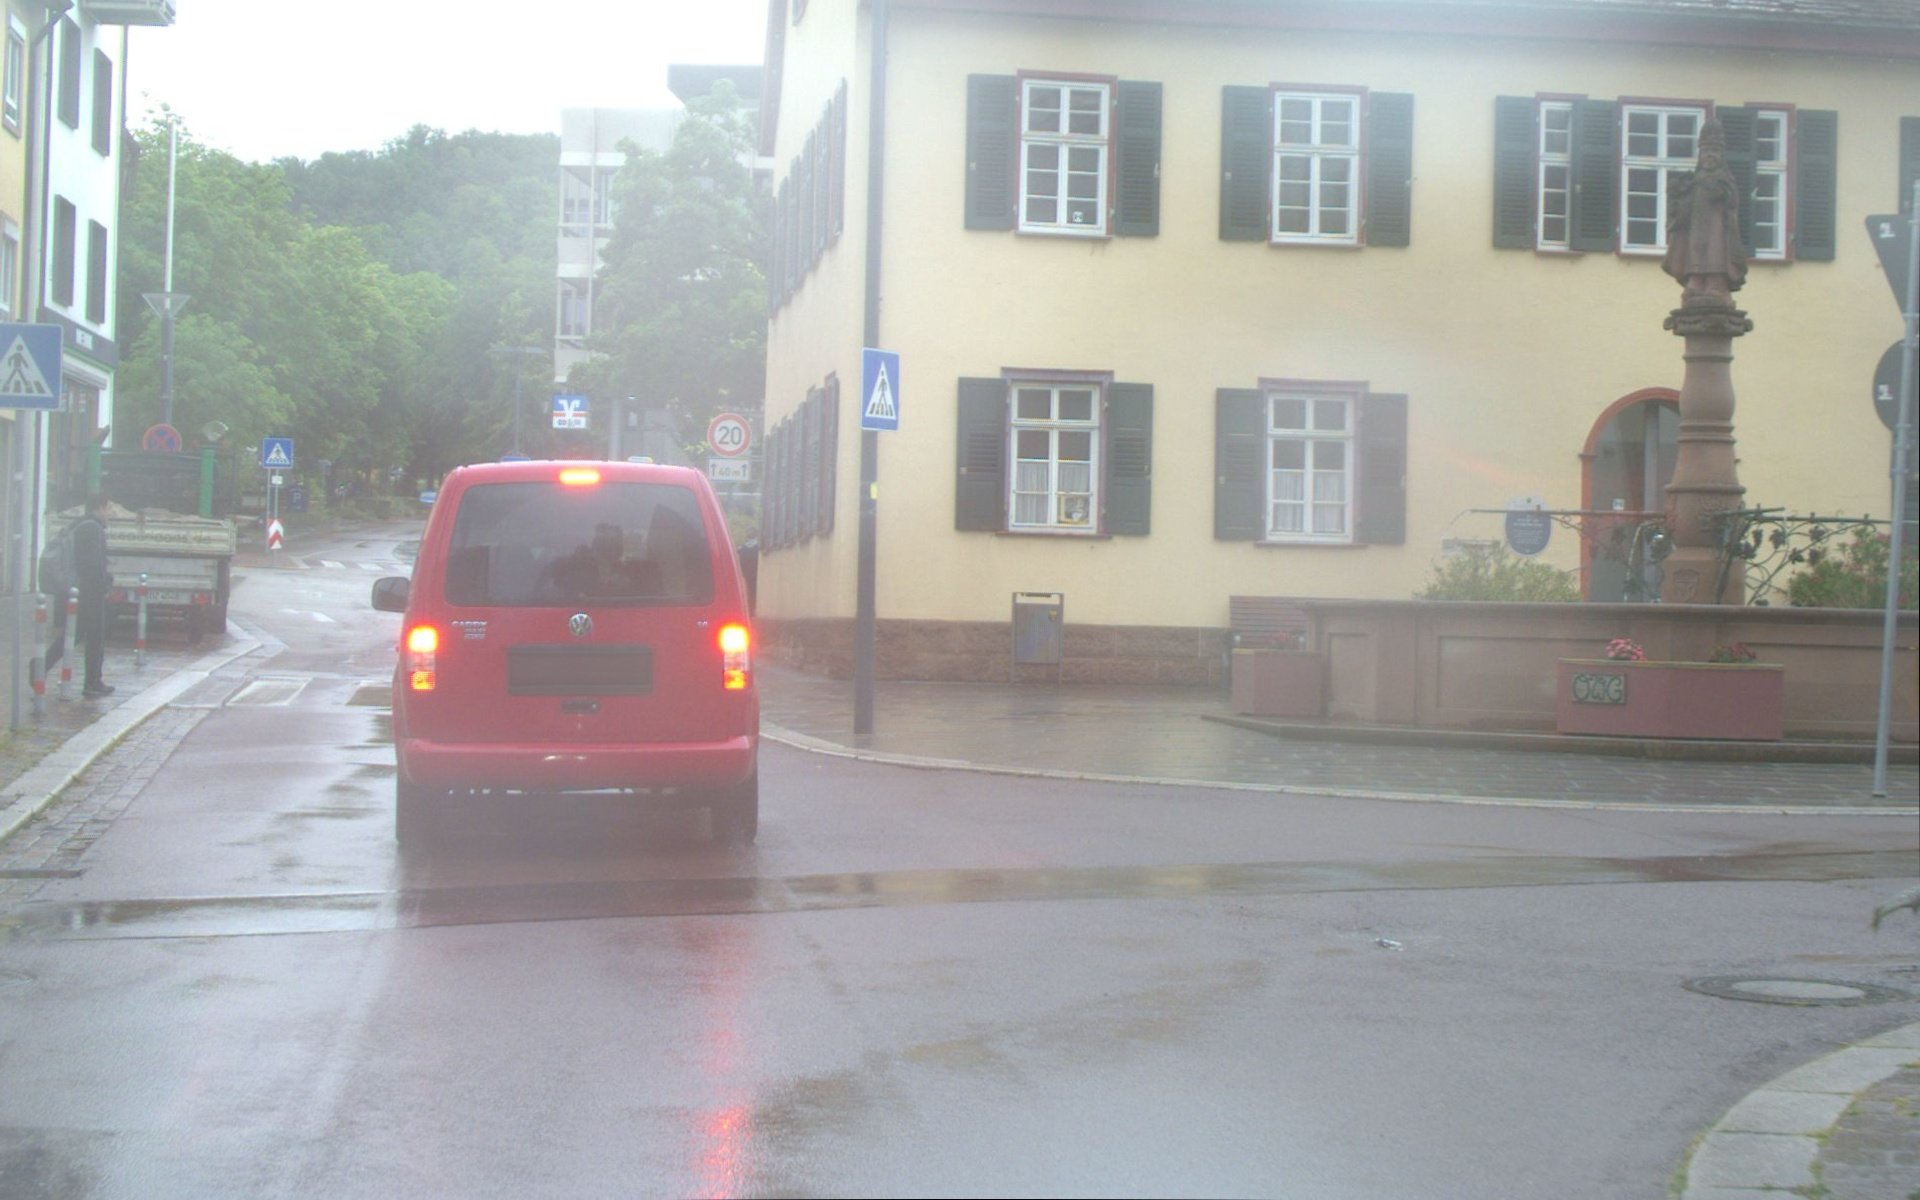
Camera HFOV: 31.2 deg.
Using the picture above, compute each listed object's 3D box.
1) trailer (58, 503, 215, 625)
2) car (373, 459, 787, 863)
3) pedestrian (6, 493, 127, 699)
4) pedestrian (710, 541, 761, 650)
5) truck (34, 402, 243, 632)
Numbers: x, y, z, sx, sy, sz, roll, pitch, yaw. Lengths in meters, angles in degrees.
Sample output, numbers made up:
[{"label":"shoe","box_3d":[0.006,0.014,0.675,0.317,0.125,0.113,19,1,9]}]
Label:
[{"label":"trailer","box_3d":[-9.744,-0.453,40.748,1.727,1.342,3.162,1,2,-13]},{"label":"car","box_3d":[-2.032,0.247,17.718,1.861,1.824,4.186,0,1,-8]},{"label":"pedestrian","box_3d":[-7.453,-0.042,28.710,0.865,1.687,0.716,1,1,-8]},{"label":"pedestrian","box_3d":[-3.356,-0.068,51.340,0.728,1.611,0.694,1,0,-5]},{"label":"truck","box_3d":[-10.832,-1.136,45.495,2.472,2.785,6.602,1,2,-13]}]
